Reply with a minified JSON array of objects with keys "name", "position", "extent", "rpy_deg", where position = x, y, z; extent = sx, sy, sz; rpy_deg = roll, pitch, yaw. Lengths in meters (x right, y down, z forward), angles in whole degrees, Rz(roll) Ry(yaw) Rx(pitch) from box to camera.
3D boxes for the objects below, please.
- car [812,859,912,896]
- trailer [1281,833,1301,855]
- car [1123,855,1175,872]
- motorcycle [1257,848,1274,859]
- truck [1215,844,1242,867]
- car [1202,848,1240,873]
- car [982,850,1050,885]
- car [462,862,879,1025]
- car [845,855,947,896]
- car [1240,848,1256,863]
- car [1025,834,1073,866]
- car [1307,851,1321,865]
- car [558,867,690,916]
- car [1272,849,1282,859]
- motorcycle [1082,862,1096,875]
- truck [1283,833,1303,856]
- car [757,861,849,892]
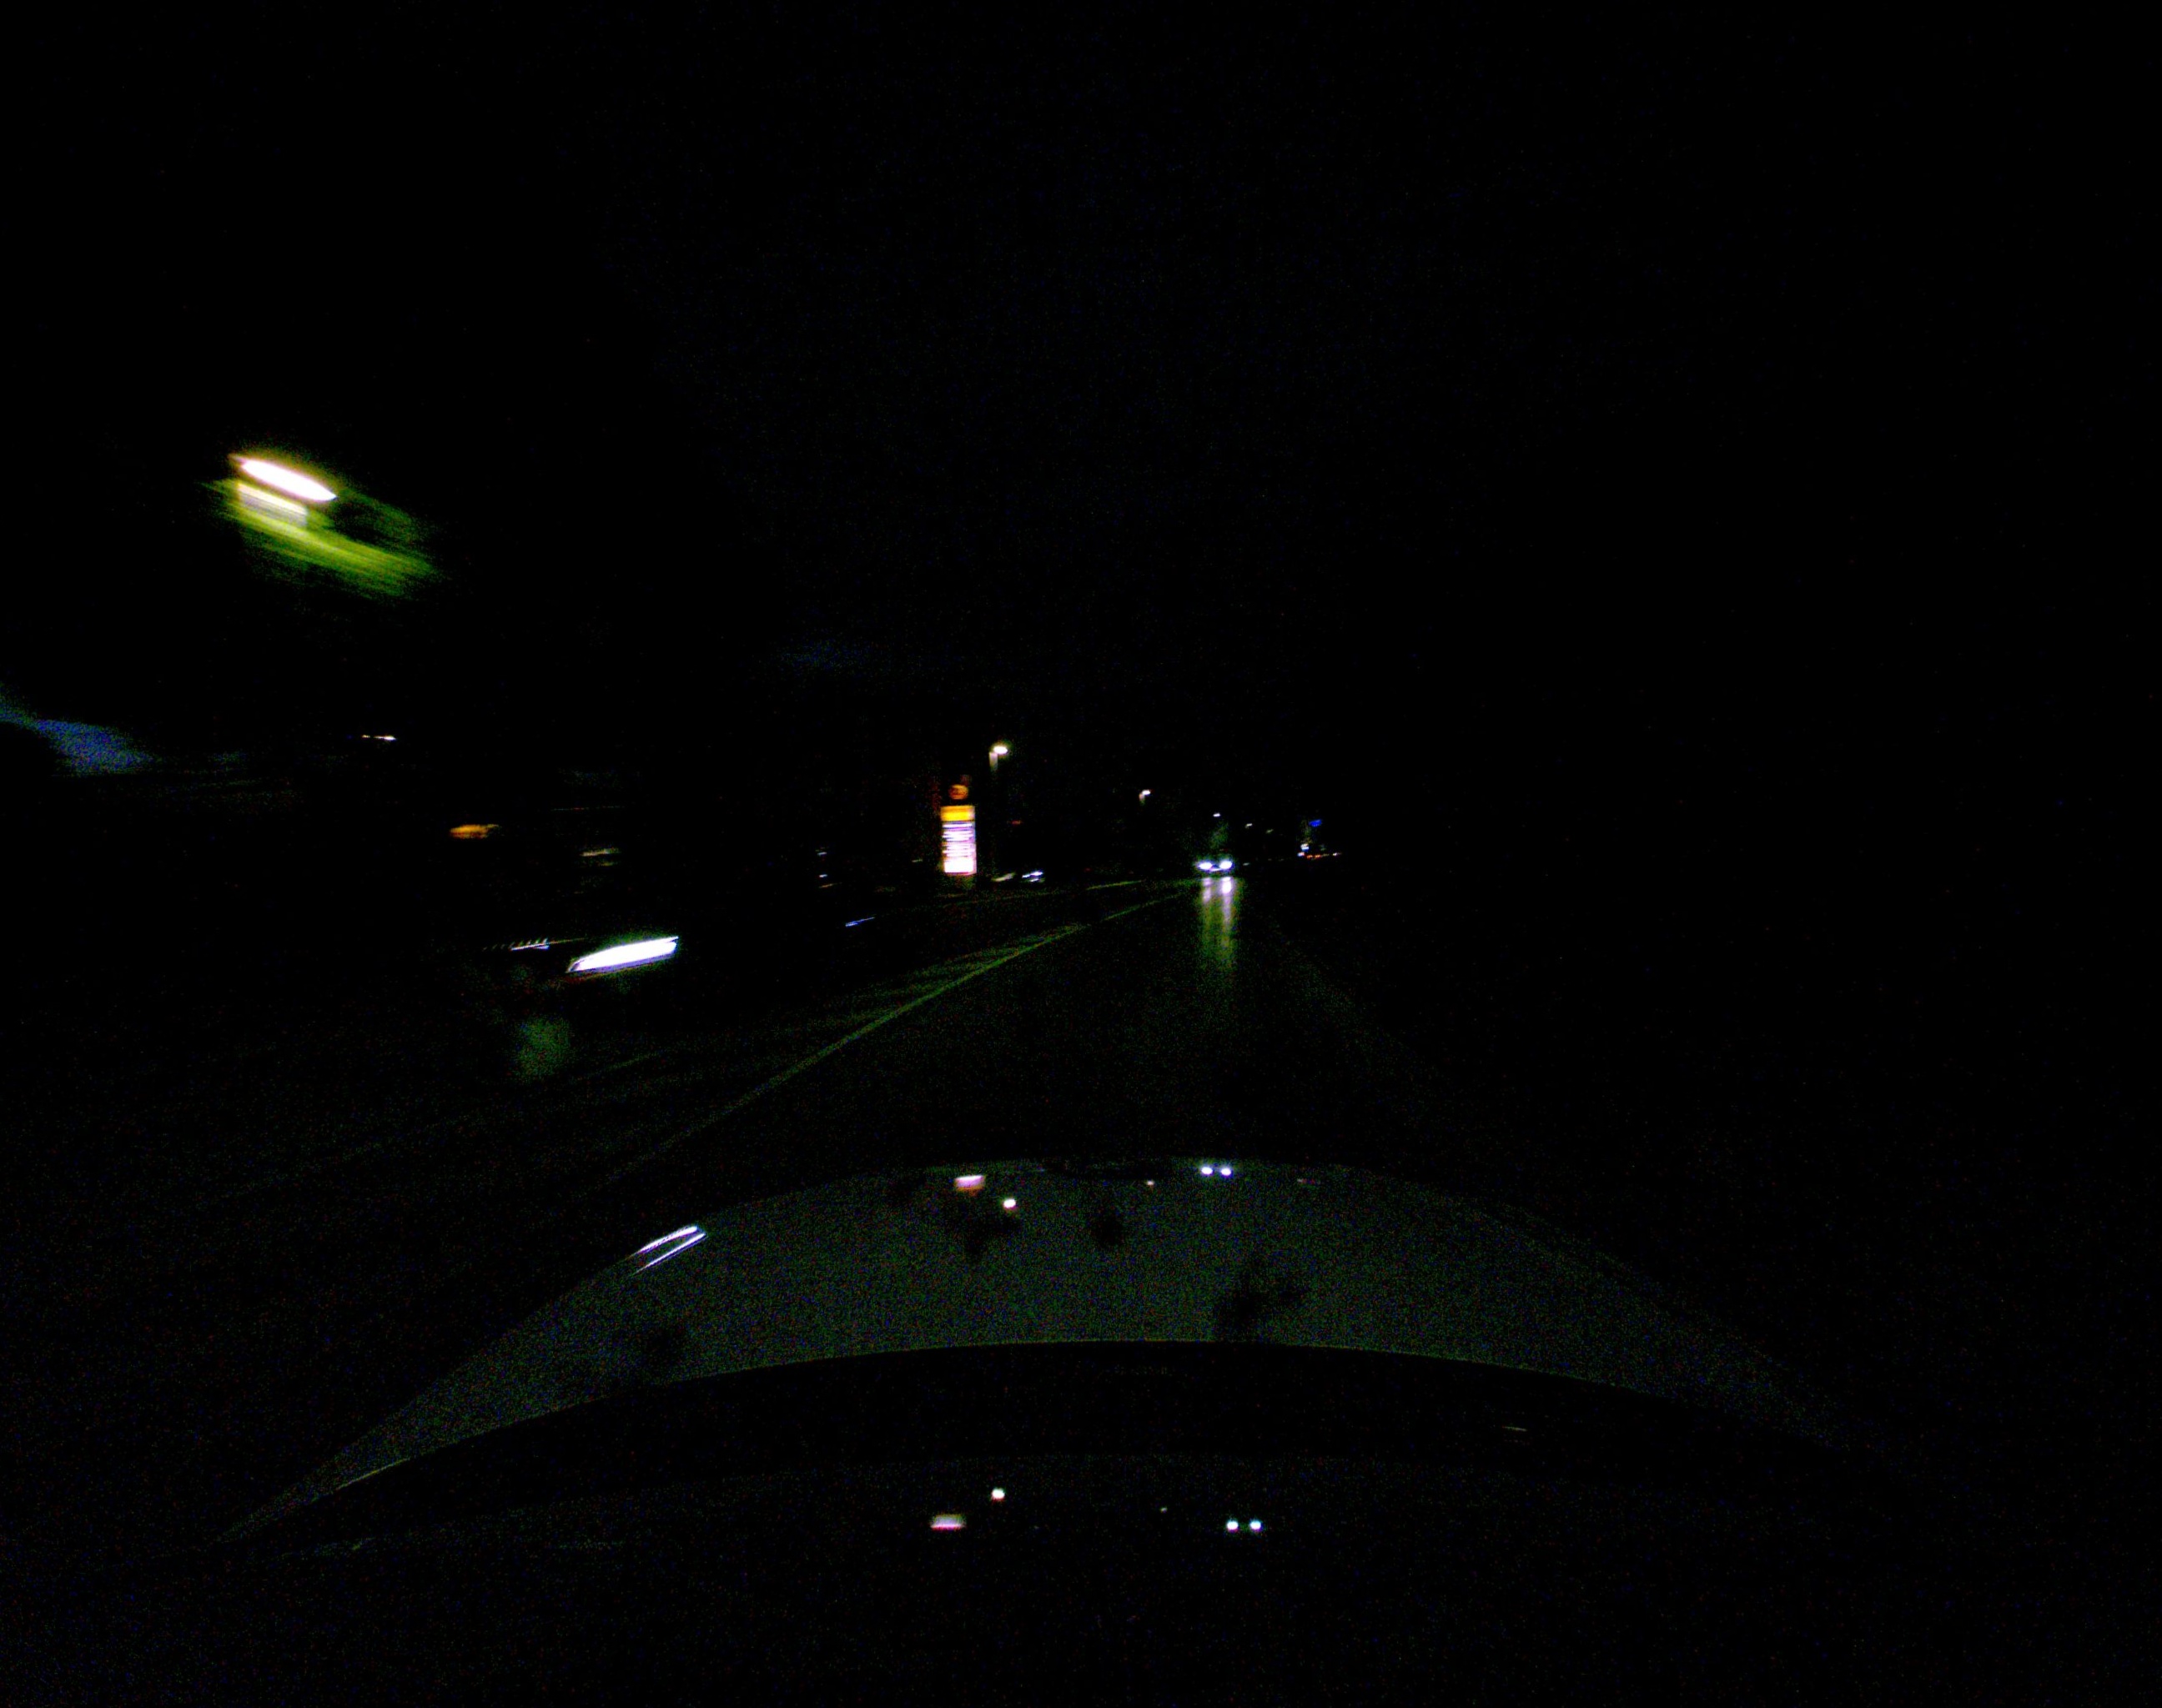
[{"name":"car","position":[-8.665,0.897,32.533],"extent":[1.529,1.311,3.723],"rpy_deg":[-1,0,35]},{"name":"trailer","position":[48.431,-2.371,188.133],"extent":[3.817,4.890,10.841],"rpy_deg":[1,2,10]},{"name":"car","position":[6.024,0.833,72.043],"extent":[4.316,1.359,1.649],"rpy_deg":[-2,-1,14]},{"name":"motorcycle","position":[36.170,-0.133,159.664],"extent":[1.306,2.013,4.024],"rpy_deg":[2,3,45]},{"name":"truck","position":[14.891,0.135,82.080],"extent":[2.232,2.129,6.002],"rpy_deg":[-3,-1,14]},{"name":"car","position":[9.880,0.434,57.275],"extent":[1.740,1.607,4.475],"rpy_deg":[-3,0,20]},{"name":"car","position":[-3.136,0.618,40.026],"extent":[1.741,1.607,4.472],"rpy_deg":[-1,0,18]},{"name":"car","position":[-4.293,0.808,9.542],"extent":[1.747,1.403,4.604],"rpy_deg":[-1,-1,14]},{"name":"car","position":[-7.017,0.772,31.153],"extent":[1.529,1.420,3.723],"rpy_deg":[-1,0,35]},{"name":"car","position":[19.683,0.134,95.822],"extent":[1.705,1.618,3.852],"rpy_deg":[-2,0,13]},{"name":"car","position":[-2.113,-0.331,55.073],"extent":[1.977,2.013,4.020],"rpy_deg":[1,2,18]},{"name":"car","position":[37.578,0.686,131.509],"extent":[1.978,2.013,4.017],"rpy_deg":[-4,1,16]},{"name":"car","position":[-14.718,1.197,26.272],"extent":[3.481,1.359,1.501],"rpy_deg":[-3,-1,10]},{"name":"car","position":[35.316,0.070,146.727],"extent":[1.713,1.739,3.821],"rpy_deg":[-2,-1,13]},{"name":"motorcycle","position":[0.744,1.278,73.434],"extent":[0.980,1.144,1.853],"rpy_deg":[-1,0,8]},{"name":"truck","position":[47.531,-2.151,183.112],"extent":[3.817,4.890,6.373],"rpy_deg":[1,2,10]},{"name":"car","position":[-11.261,0.900,33.138],"extent":[1.529,1.131,3.234],"rpy_deg":[-1,0,34]}]
